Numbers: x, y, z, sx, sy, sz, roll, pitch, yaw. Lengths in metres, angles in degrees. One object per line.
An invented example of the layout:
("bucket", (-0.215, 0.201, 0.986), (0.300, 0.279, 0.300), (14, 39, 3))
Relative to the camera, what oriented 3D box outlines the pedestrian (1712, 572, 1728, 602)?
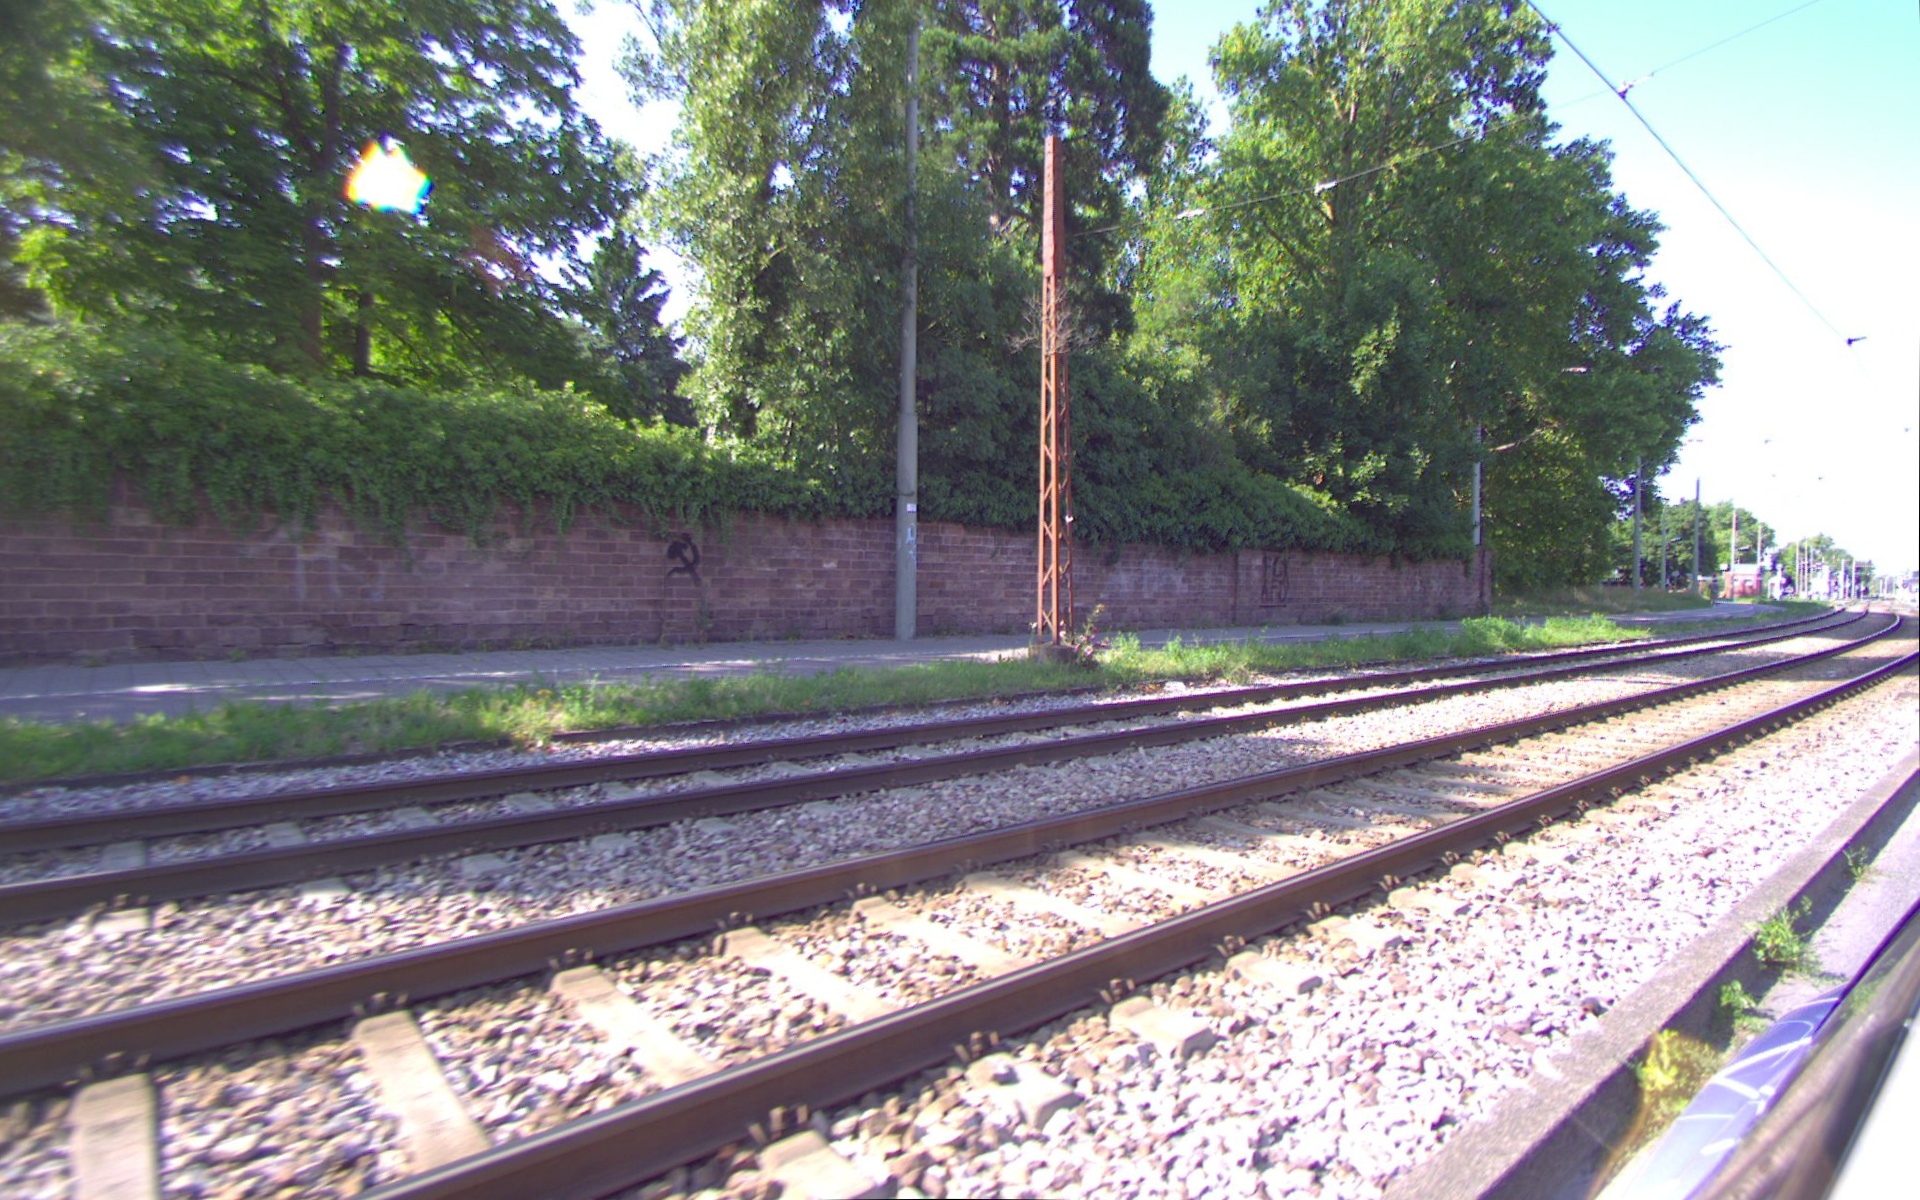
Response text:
("pedestrian", (44.933, -0.789, 59.805), (0.869, 1.737, 0.501), (0, 2, -39))
